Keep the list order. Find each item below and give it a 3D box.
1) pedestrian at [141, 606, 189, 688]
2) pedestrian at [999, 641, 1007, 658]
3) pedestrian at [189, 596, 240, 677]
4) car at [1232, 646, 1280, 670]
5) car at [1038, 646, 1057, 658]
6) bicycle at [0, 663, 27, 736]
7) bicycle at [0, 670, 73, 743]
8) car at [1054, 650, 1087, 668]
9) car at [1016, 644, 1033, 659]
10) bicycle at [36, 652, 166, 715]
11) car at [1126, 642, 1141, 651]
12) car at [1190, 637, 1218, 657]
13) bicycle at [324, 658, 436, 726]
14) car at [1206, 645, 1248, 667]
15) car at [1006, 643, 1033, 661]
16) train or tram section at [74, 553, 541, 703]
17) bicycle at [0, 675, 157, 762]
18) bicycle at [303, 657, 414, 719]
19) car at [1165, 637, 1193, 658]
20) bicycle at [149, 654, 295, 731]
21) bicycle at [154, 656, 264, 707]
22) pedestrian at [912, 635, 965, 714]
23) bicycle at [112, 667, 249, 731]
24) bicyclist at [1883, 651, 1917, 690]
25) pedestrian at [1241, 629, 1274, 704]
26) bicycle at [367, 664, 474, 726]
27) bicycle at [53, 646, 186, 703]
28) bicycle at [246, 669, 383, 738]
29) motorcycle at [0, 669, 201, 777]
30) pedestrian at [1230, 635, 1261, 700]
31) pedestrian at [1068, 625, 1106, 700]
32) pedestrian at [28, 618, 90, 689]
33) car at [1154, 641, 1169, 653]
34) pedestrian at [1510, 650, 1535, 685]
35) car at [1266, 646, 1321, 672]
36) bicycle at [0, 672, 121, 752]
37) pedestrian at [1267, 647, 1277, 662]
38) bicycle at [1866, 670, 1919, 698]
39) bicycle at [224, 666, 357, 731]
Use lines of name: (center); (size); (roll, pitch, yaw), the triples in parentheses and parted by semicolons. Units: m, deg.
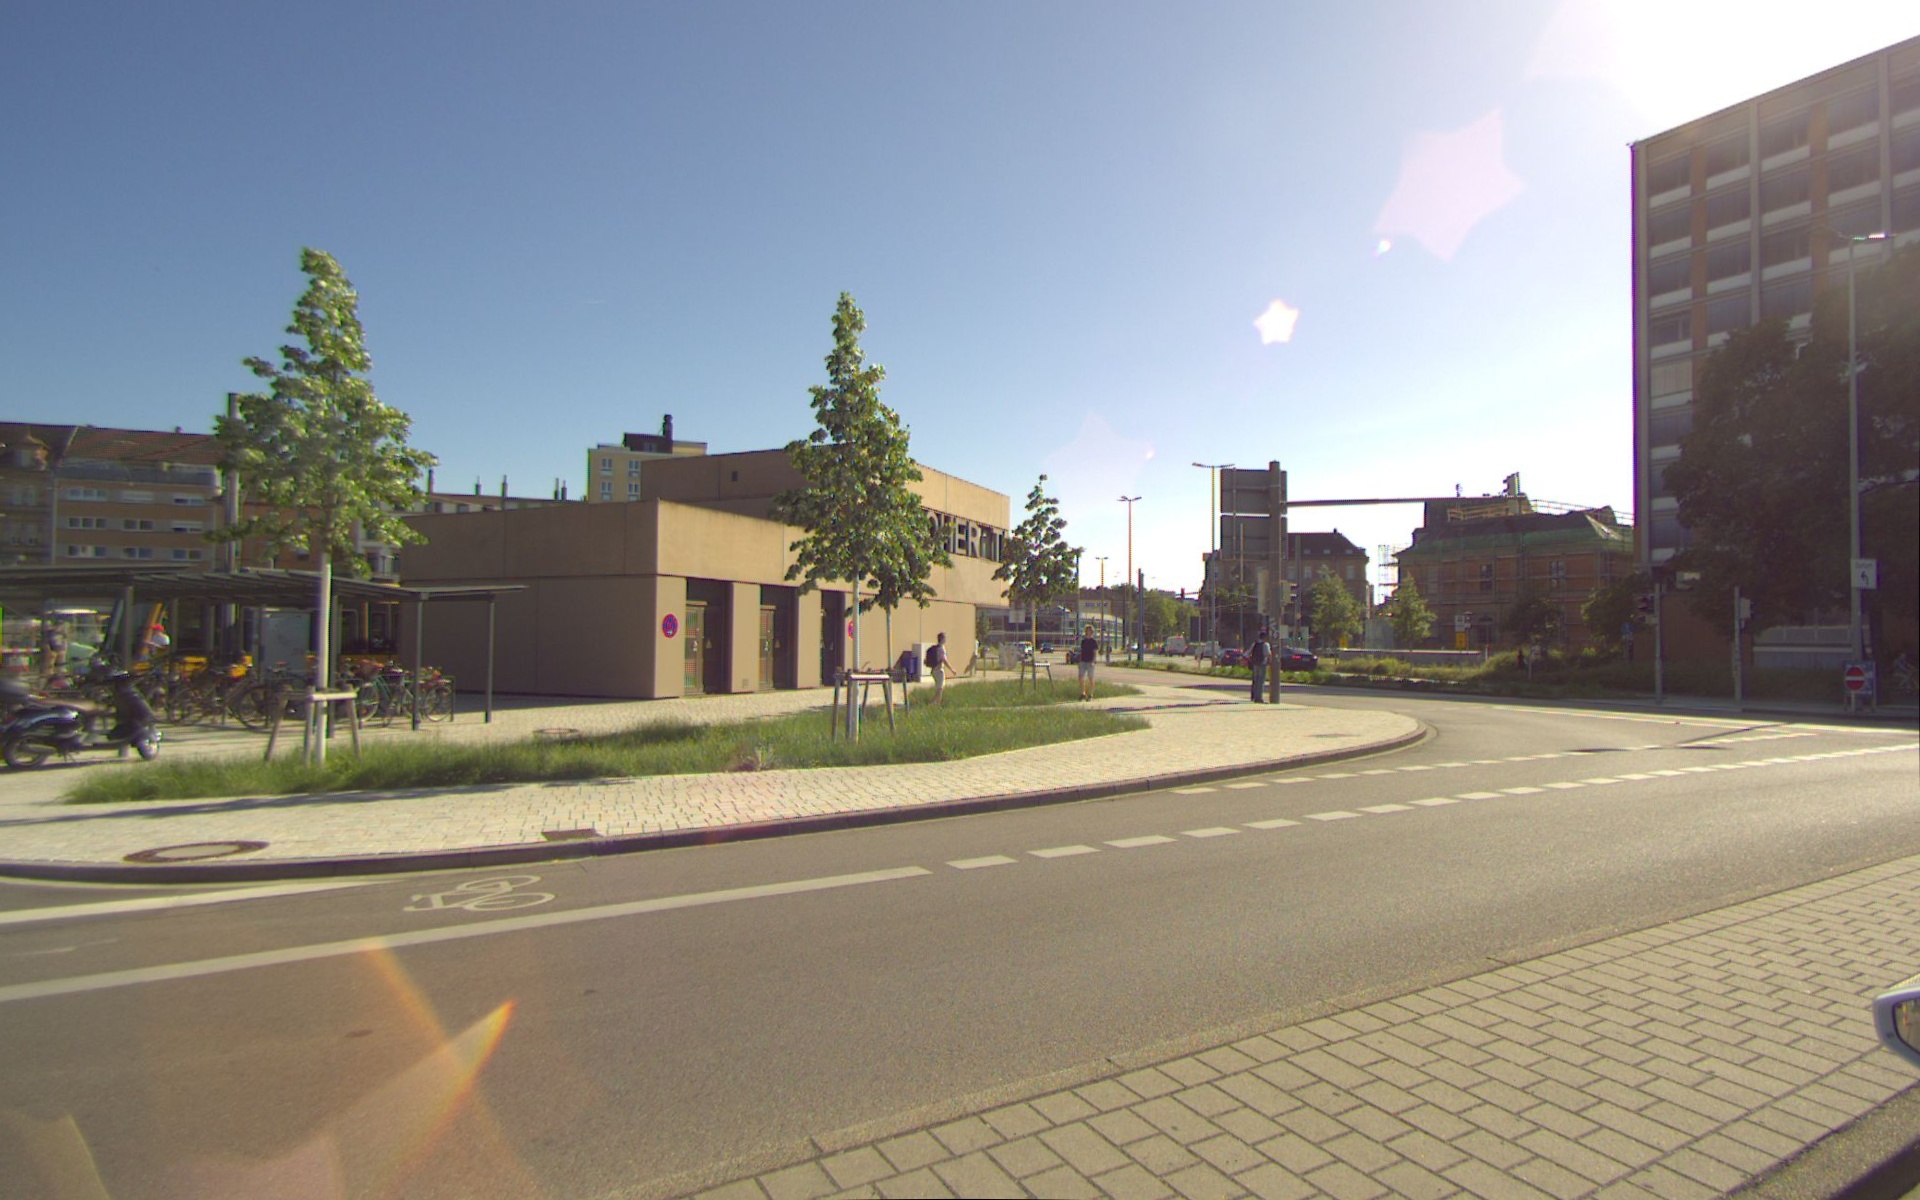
pedestrian: (-18.607, 1.099, 23.515); (0.671, 1.880, 0.602); (1, -2, -19)
pedestrian: (5.130, 5.858, 119.782); (0.708, 2.040, 0.717); (0, -2, 17)
pedestrian: (-17.621, 0.860, 23.757); (0.738, 1.880, 0.709); (1, -2, -19)
car: (20.272, 3.946, 69.005); (1.962, 1.538, 3.818); (1, -2, -4)
car: (12.741, 7.549, 146.108); (1.960, 1.603, 4.001); (0, -2, 18)
bicycle: (-15.279, 1.519, 15.016); (0.617, 1.094, 1.829); (0, -2, 25)
bicycle: (-14.112, 1.552, 14.517); (0.617, 1.021, 1.829); (0, -2, 25)
car: (8.912, 4.741, 81.216); (1.962, 1.407, 3.998); (0, -3, -5)
car: (7.455, 5.953, 116.387); (1.866, 1.728, 4.002); (-1, -3, 1)
bicycle: (-16.919, 1.614, 19.833); (0.617, 1.146, 1.828); (0, -2, 27)
car: (33.765, 9.056, 195.282); (1.962, 1.695, 3.997); (0, -2, 25)
car: (26.333, 5.050, 108.536); (2.031, 2.040, 5.018); (0, -2, 2)
bicycle: (-10.750, 1.679, 18.688); (0.616, 1.161, 1.831); (0, -2, 18)
car: (20.042, 4.216, 75.511); (1.962, 1.538, 3.818); (1, -2, -4)
car: (6.060, 5.298, 102.803); (1.963, 1.814, 3.995); (1, -2, -8)
train or tram section: (-18.715, 0.903, 30.613); (2.702, 3.648, 12.318); (0, -2, 25)
bicycle: (-12.045, 1.561, 13.525); (0.617, 1.021, 1.829); (0, -2, 25)
bicycle: (-11.754, 1.691, 19.693); (0.617, 1.107, 1.829); (0, -2, 25)
car: (28.579, 6.160, 131.394); (2.952, 2.580, 6.963); (0, -2, 7)
bicycle: (-12.896, 1.584, 17.634); (0.496, 1.225, 2.051); (0, -2, 26)
bicycle: (-16.265, 1.737, 21.808); (0.617, 1.021, 1.829); (0, -2, 25)
pedestrian: (-0.486, 1.649, 22.482); (1.007, 1.727, 0.836); (1, -2, -15)
bicycle: (-13.872, 1.745, 17.942); (0.617, 1.021, 1.828); (0, -2, 27)
bicyclist: (35.218, 2.647, 37.632); (0.637, 1.431, 0.638); (1, -2, -6)
pedestrian: (7.606, 1.690, 25.661); (0.594, 1.880, 0.681); (1, -2, -7)
bicycle: (-9.830, 1.713, 18.389); (0.616, 1.021, 1.832); (0, -2, 16)
bicycle: (-16.000, 1.395, 19.170); (0.617, 1.021, 1.828); (0, -2, 27)
bicycle: (-10.679, 1.682, 16.688); (0.617, 1.021, 1.828); (0, -2, 27)
motorcycle: (-10.927, 1.481, 12.480); (0.599, 1.173, 2.360); (0, -2, 25)
pedestrian: (7.664, 1.814, 26.961); (0.594, 1.719, 0.634); (1, -2, -7)
pedestrian: (3.252, 1.581, 25.681); (0.825, 1.869, 0.867); (0, -2, 16)
pedestrian: (-26.271, 1.544, 29.291); (0.854, 2.040, 1.012); (0, -2, 19)
car: (28.769, 6.729, 143.552); (2.059, 1.602, 4.862); (0, -2, 10)
pedestrian: (33.546, 4.038, 59.922); (0.995, 2.040, 0.825); (1, -2, -5)
car: (20.797, 3.663, 62.740); (1.962, 1.538, 3.818); (1, -2, -4)
bicycle: (-13.128, 1.560, 14.077); (0.617, 1.021, 2.026); (0, -2, 25)
pedestrian: (41.843, 7.290, 134.830); (1.249, 2.040, 1.093); (0, -2, 13)
bicycle: (35.223, 3.149, 37.699); (0.612, 0.971, 1.870); (1, -2, -5)
bicycle: (-11.623, 1.683, 17.505); (0.492, 1.010, 1.887); (0, -2, 31)
